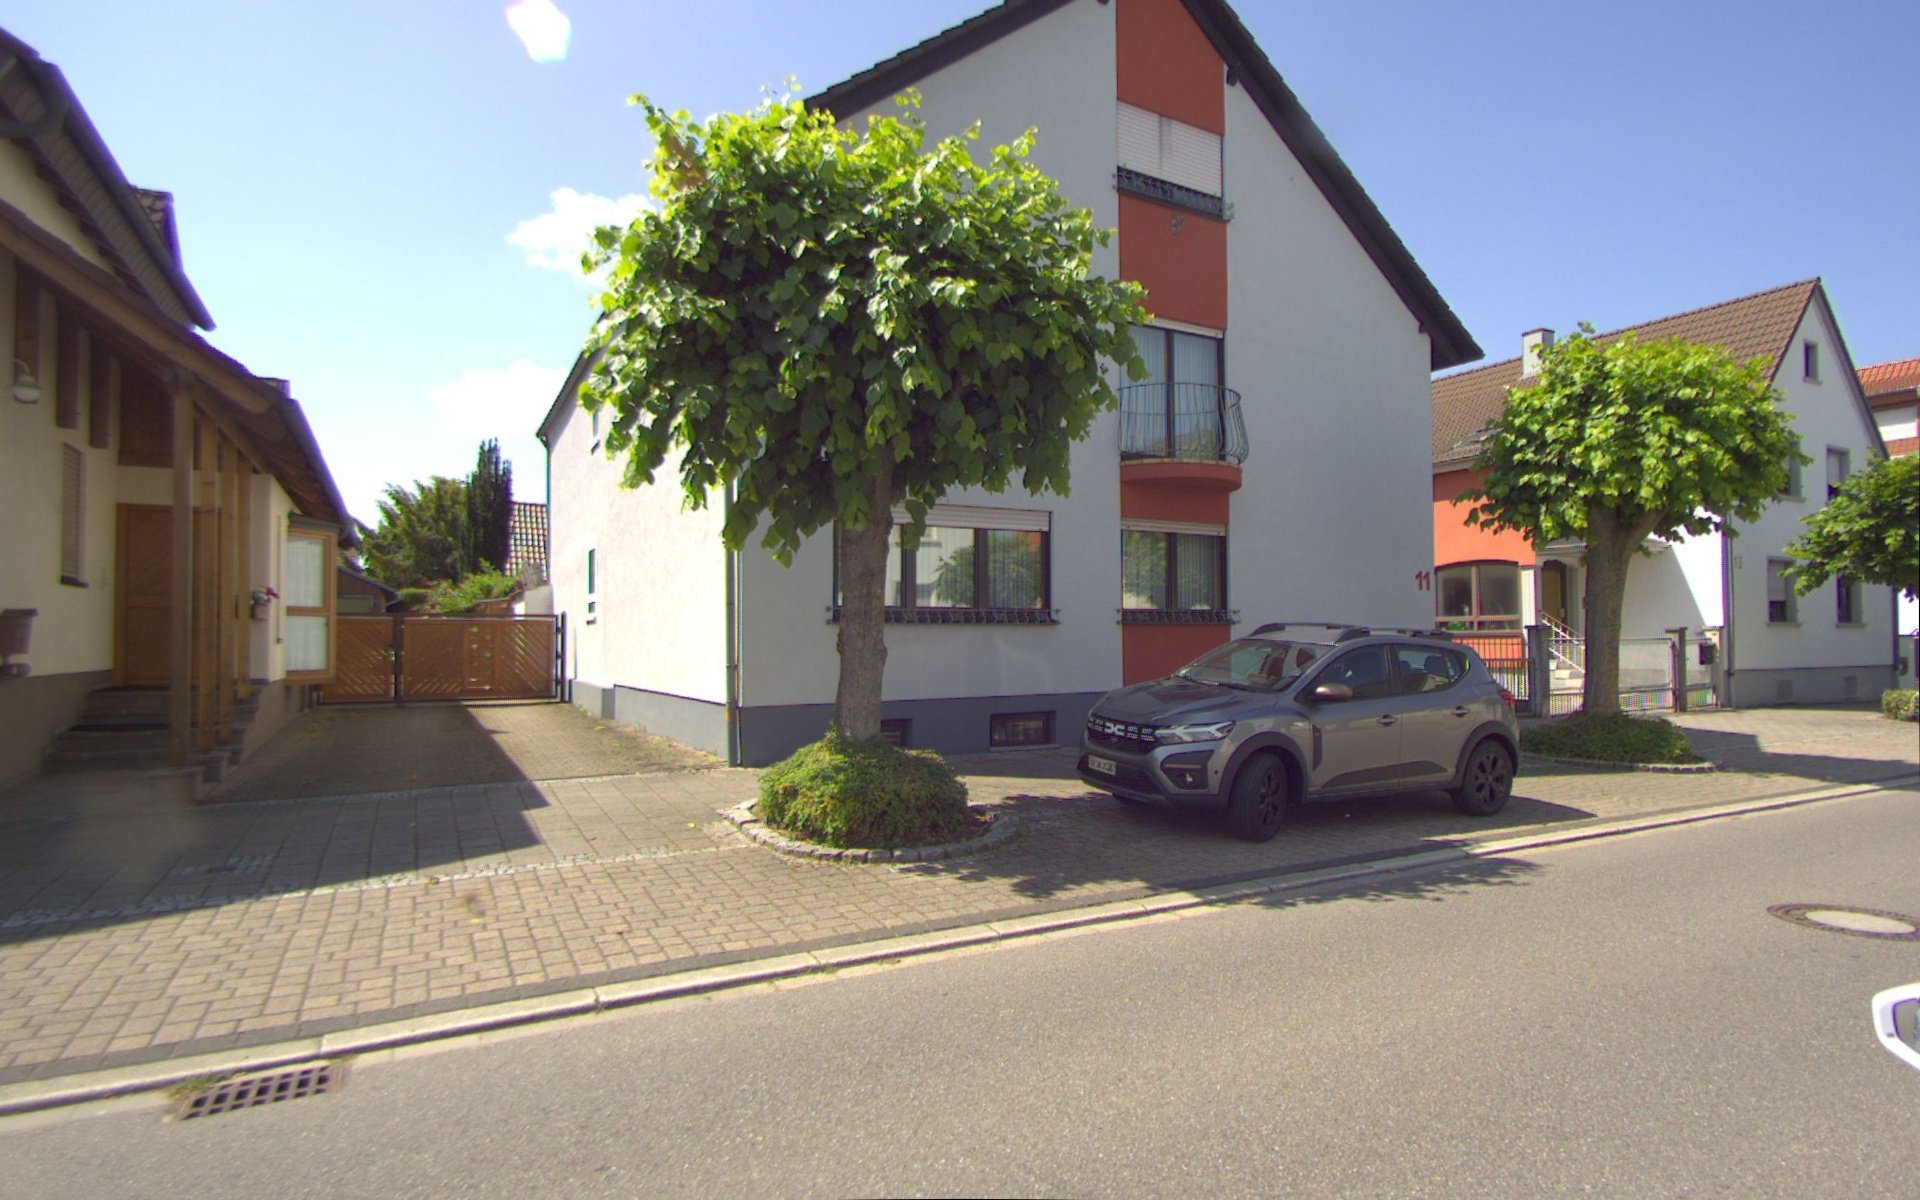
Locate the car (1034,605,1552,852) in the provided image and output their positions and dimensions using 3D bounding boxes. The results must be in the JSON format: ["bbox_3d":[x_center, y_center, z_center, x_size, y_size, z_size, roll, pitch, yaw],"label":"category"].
[{"bbox_3d":[2.860,0.921,8.526,4.083,1.634,1.846,2,0,-28],"label":"car"}]
